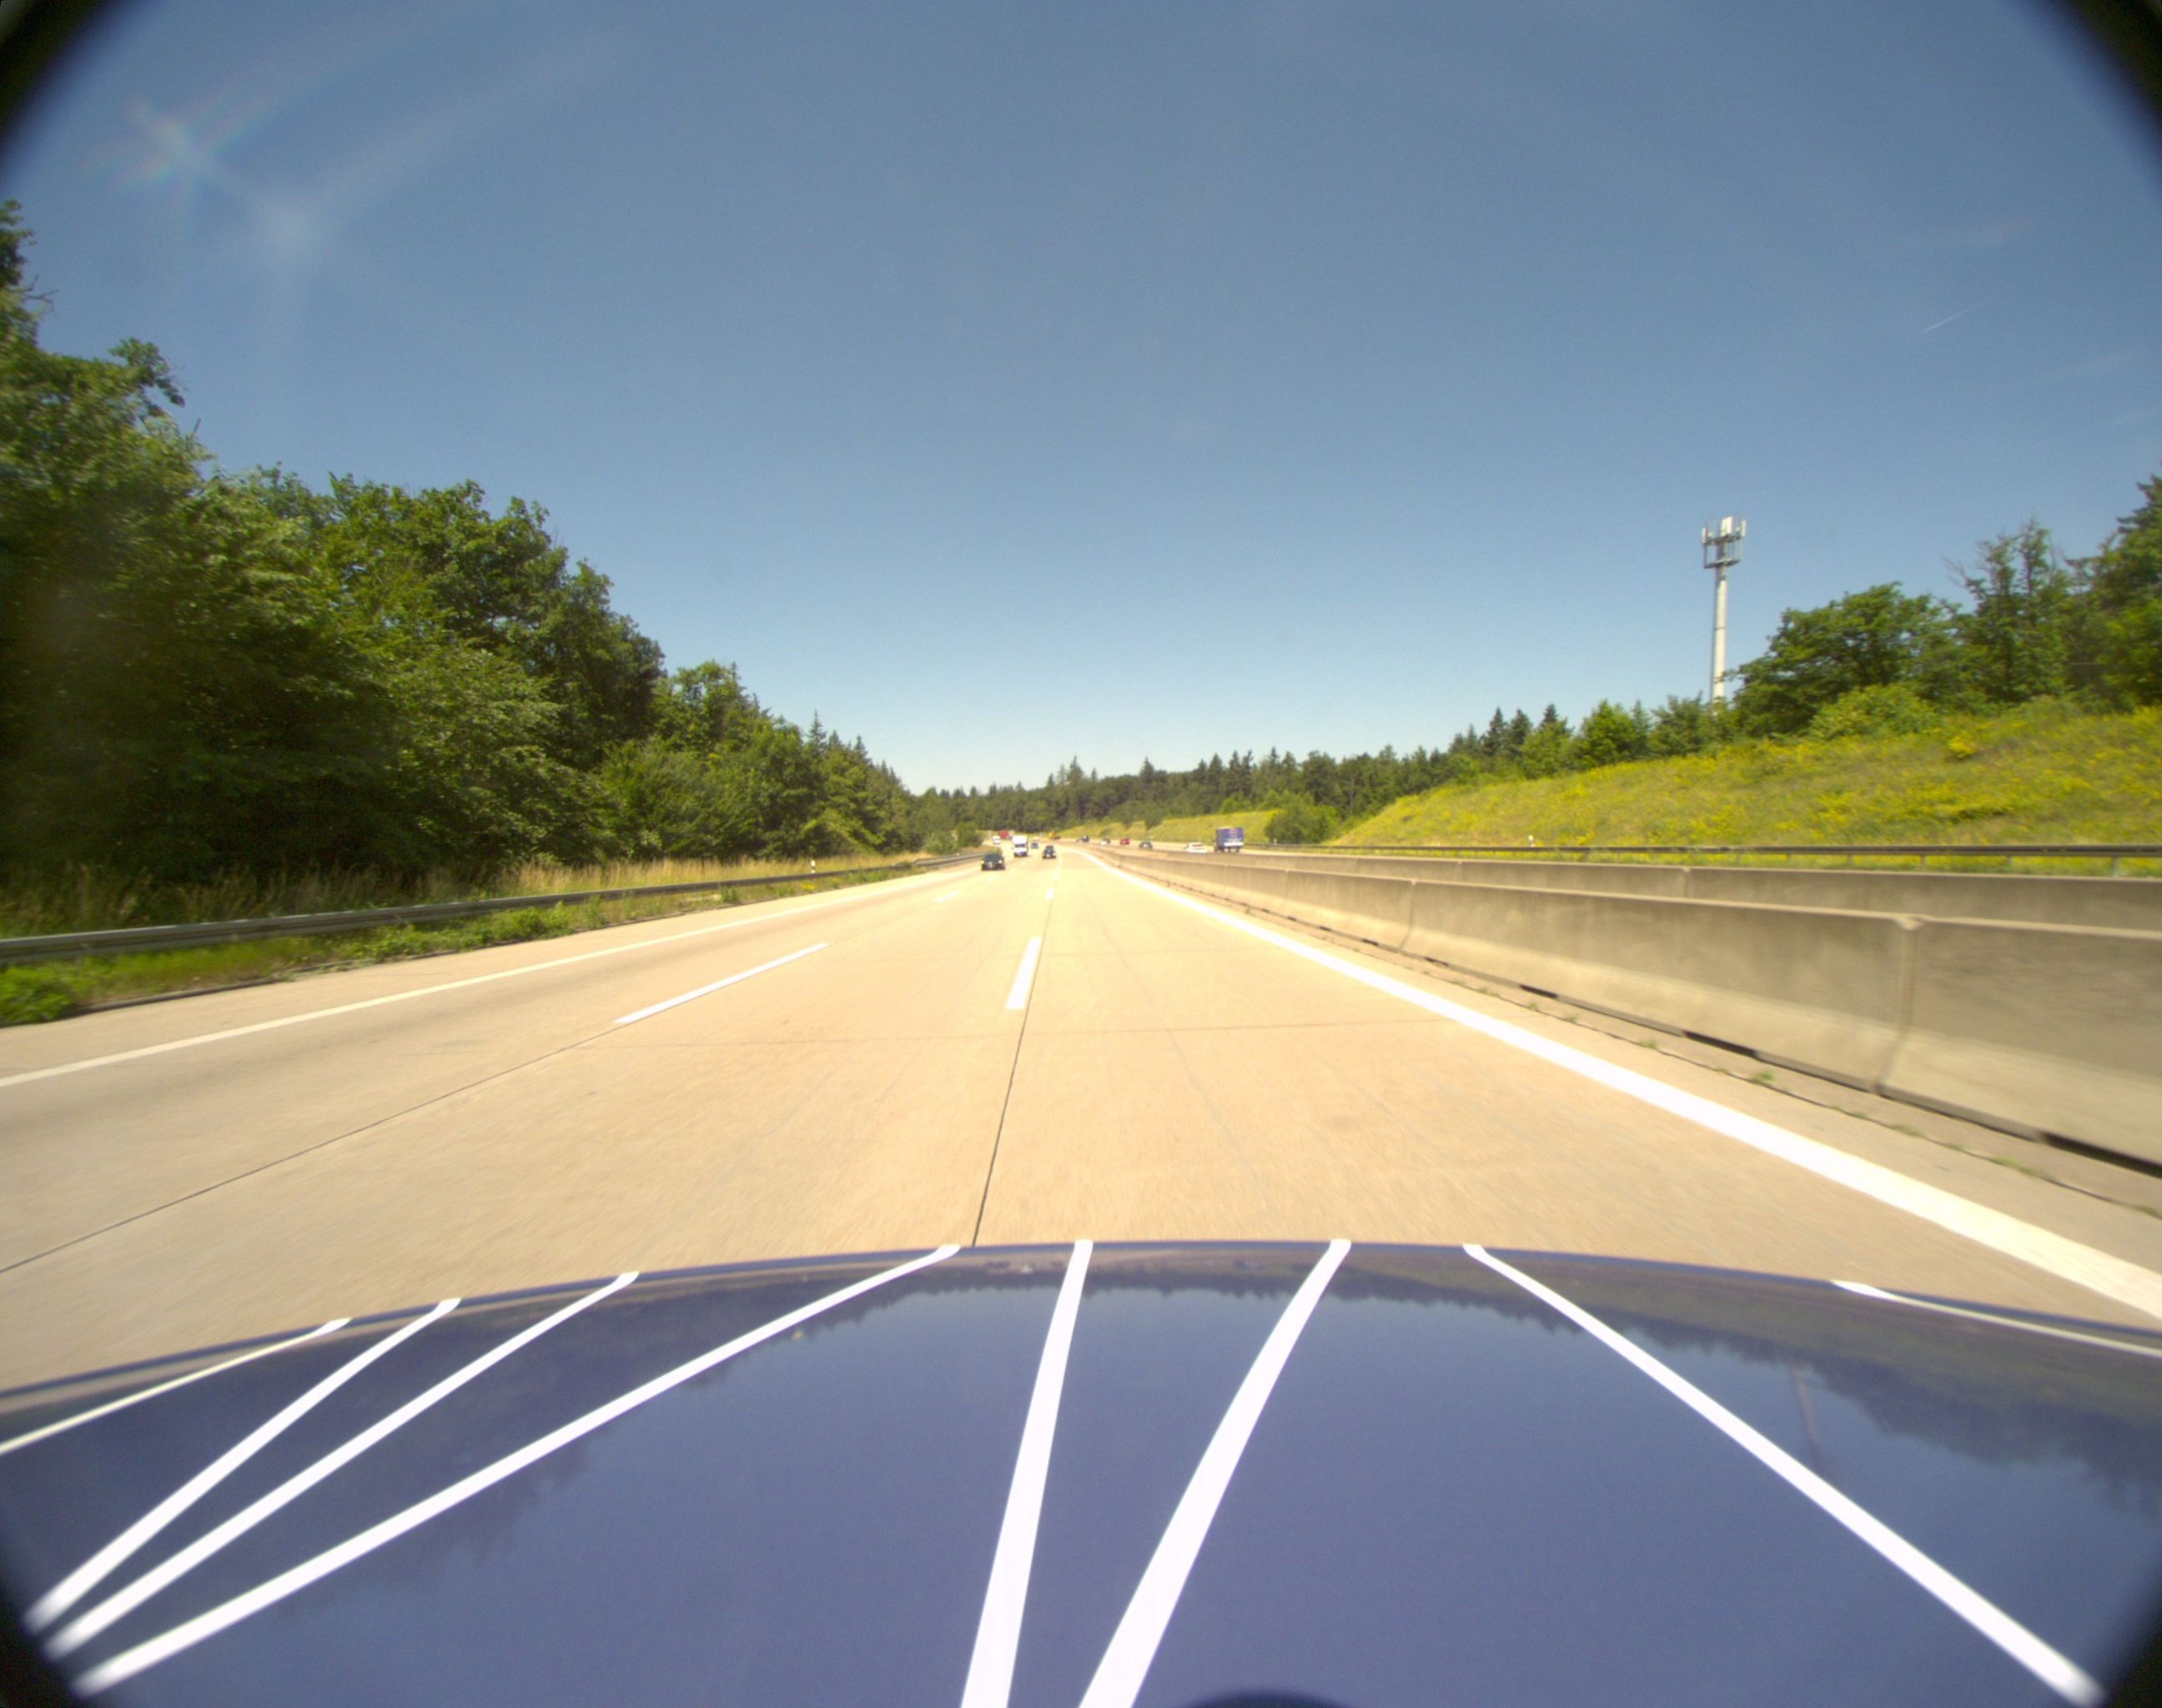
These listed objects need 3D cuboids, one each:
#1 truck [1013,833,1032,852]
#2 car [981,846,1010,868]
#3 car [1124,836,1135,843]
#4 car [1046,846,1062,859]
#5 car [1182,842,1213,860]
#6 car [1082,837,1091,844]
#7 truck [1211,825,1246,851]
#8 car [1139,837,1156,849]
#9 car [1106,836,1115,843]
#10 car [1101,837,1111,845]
[{"bbox_3d":[-9.241,-1.879,121.075,2.484,2.780,5.914,-2,1,0],"label":"truck"},{"bbox_3d":[-7.248,0.264,64.681,1.931,1.694,4.399,-2,1,0],"label":"car"},{"bbox_3d":[10.984,-3.265,172.991,1.999,1.595,4.410,-2,1,-3],"label":"car"},{"bbox_3d":[-3.692,-0.205,102.996,1.999,1.694,4.397,-2,1,-3],"label":"car"},{"bbox_3d":[10.882,-0.310,71.222,1.999,1.595,4.410,-2,1,-3],"label":"car"},{"bbox_3d":[1.362,-3.568,201.455,1.999,1.595,4.410,-2,1,-3],"label":"car"},{"bbox_3d":[17.951,-1.948,92.870,2.568,2.972,7.832,-2,1,-1],"label":"truck"},{"bbox_3d":[9.963,-1.654,114.124,1.999,1.595,4.656,-2,1,-3],"label":"car"},{"bbox_3d":[7.629,-3.720,198.480,1.999,1.595,4.410,-2,1,-3],"label":"car"},{"bbox_3d":[5.868,-3.064,178.458,1.999,1.595,4.410,-2,1,-3],"label":"car"}]
